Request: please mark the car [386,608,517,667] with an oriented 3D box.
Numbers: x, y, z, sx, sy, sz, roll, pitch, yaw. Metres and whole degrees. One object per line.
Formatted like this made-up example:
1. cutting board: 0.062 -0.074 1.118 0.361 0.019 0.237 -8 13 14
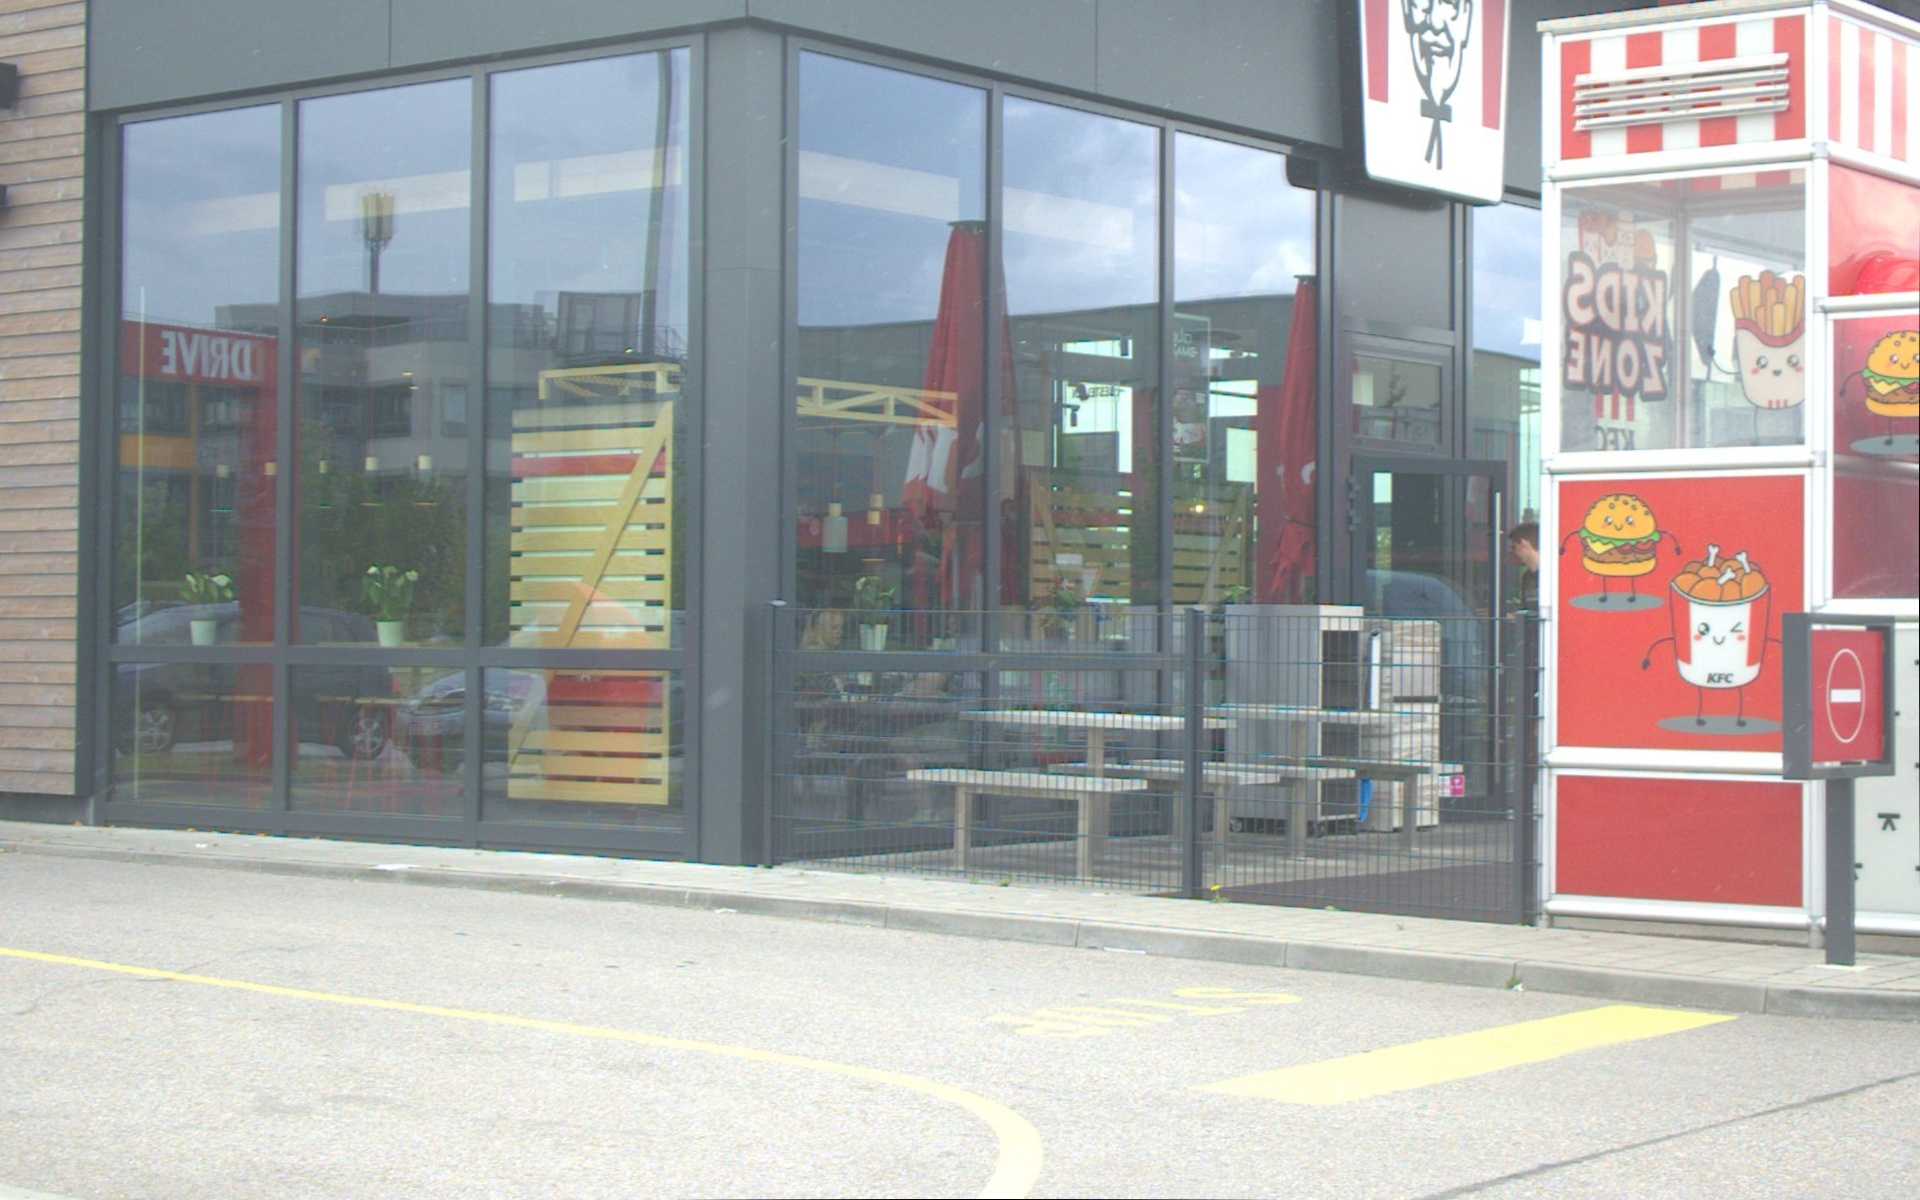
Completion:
1. car: -13.443 0.971 90.696 1.751 1.464 4.476 2 -1 -32
